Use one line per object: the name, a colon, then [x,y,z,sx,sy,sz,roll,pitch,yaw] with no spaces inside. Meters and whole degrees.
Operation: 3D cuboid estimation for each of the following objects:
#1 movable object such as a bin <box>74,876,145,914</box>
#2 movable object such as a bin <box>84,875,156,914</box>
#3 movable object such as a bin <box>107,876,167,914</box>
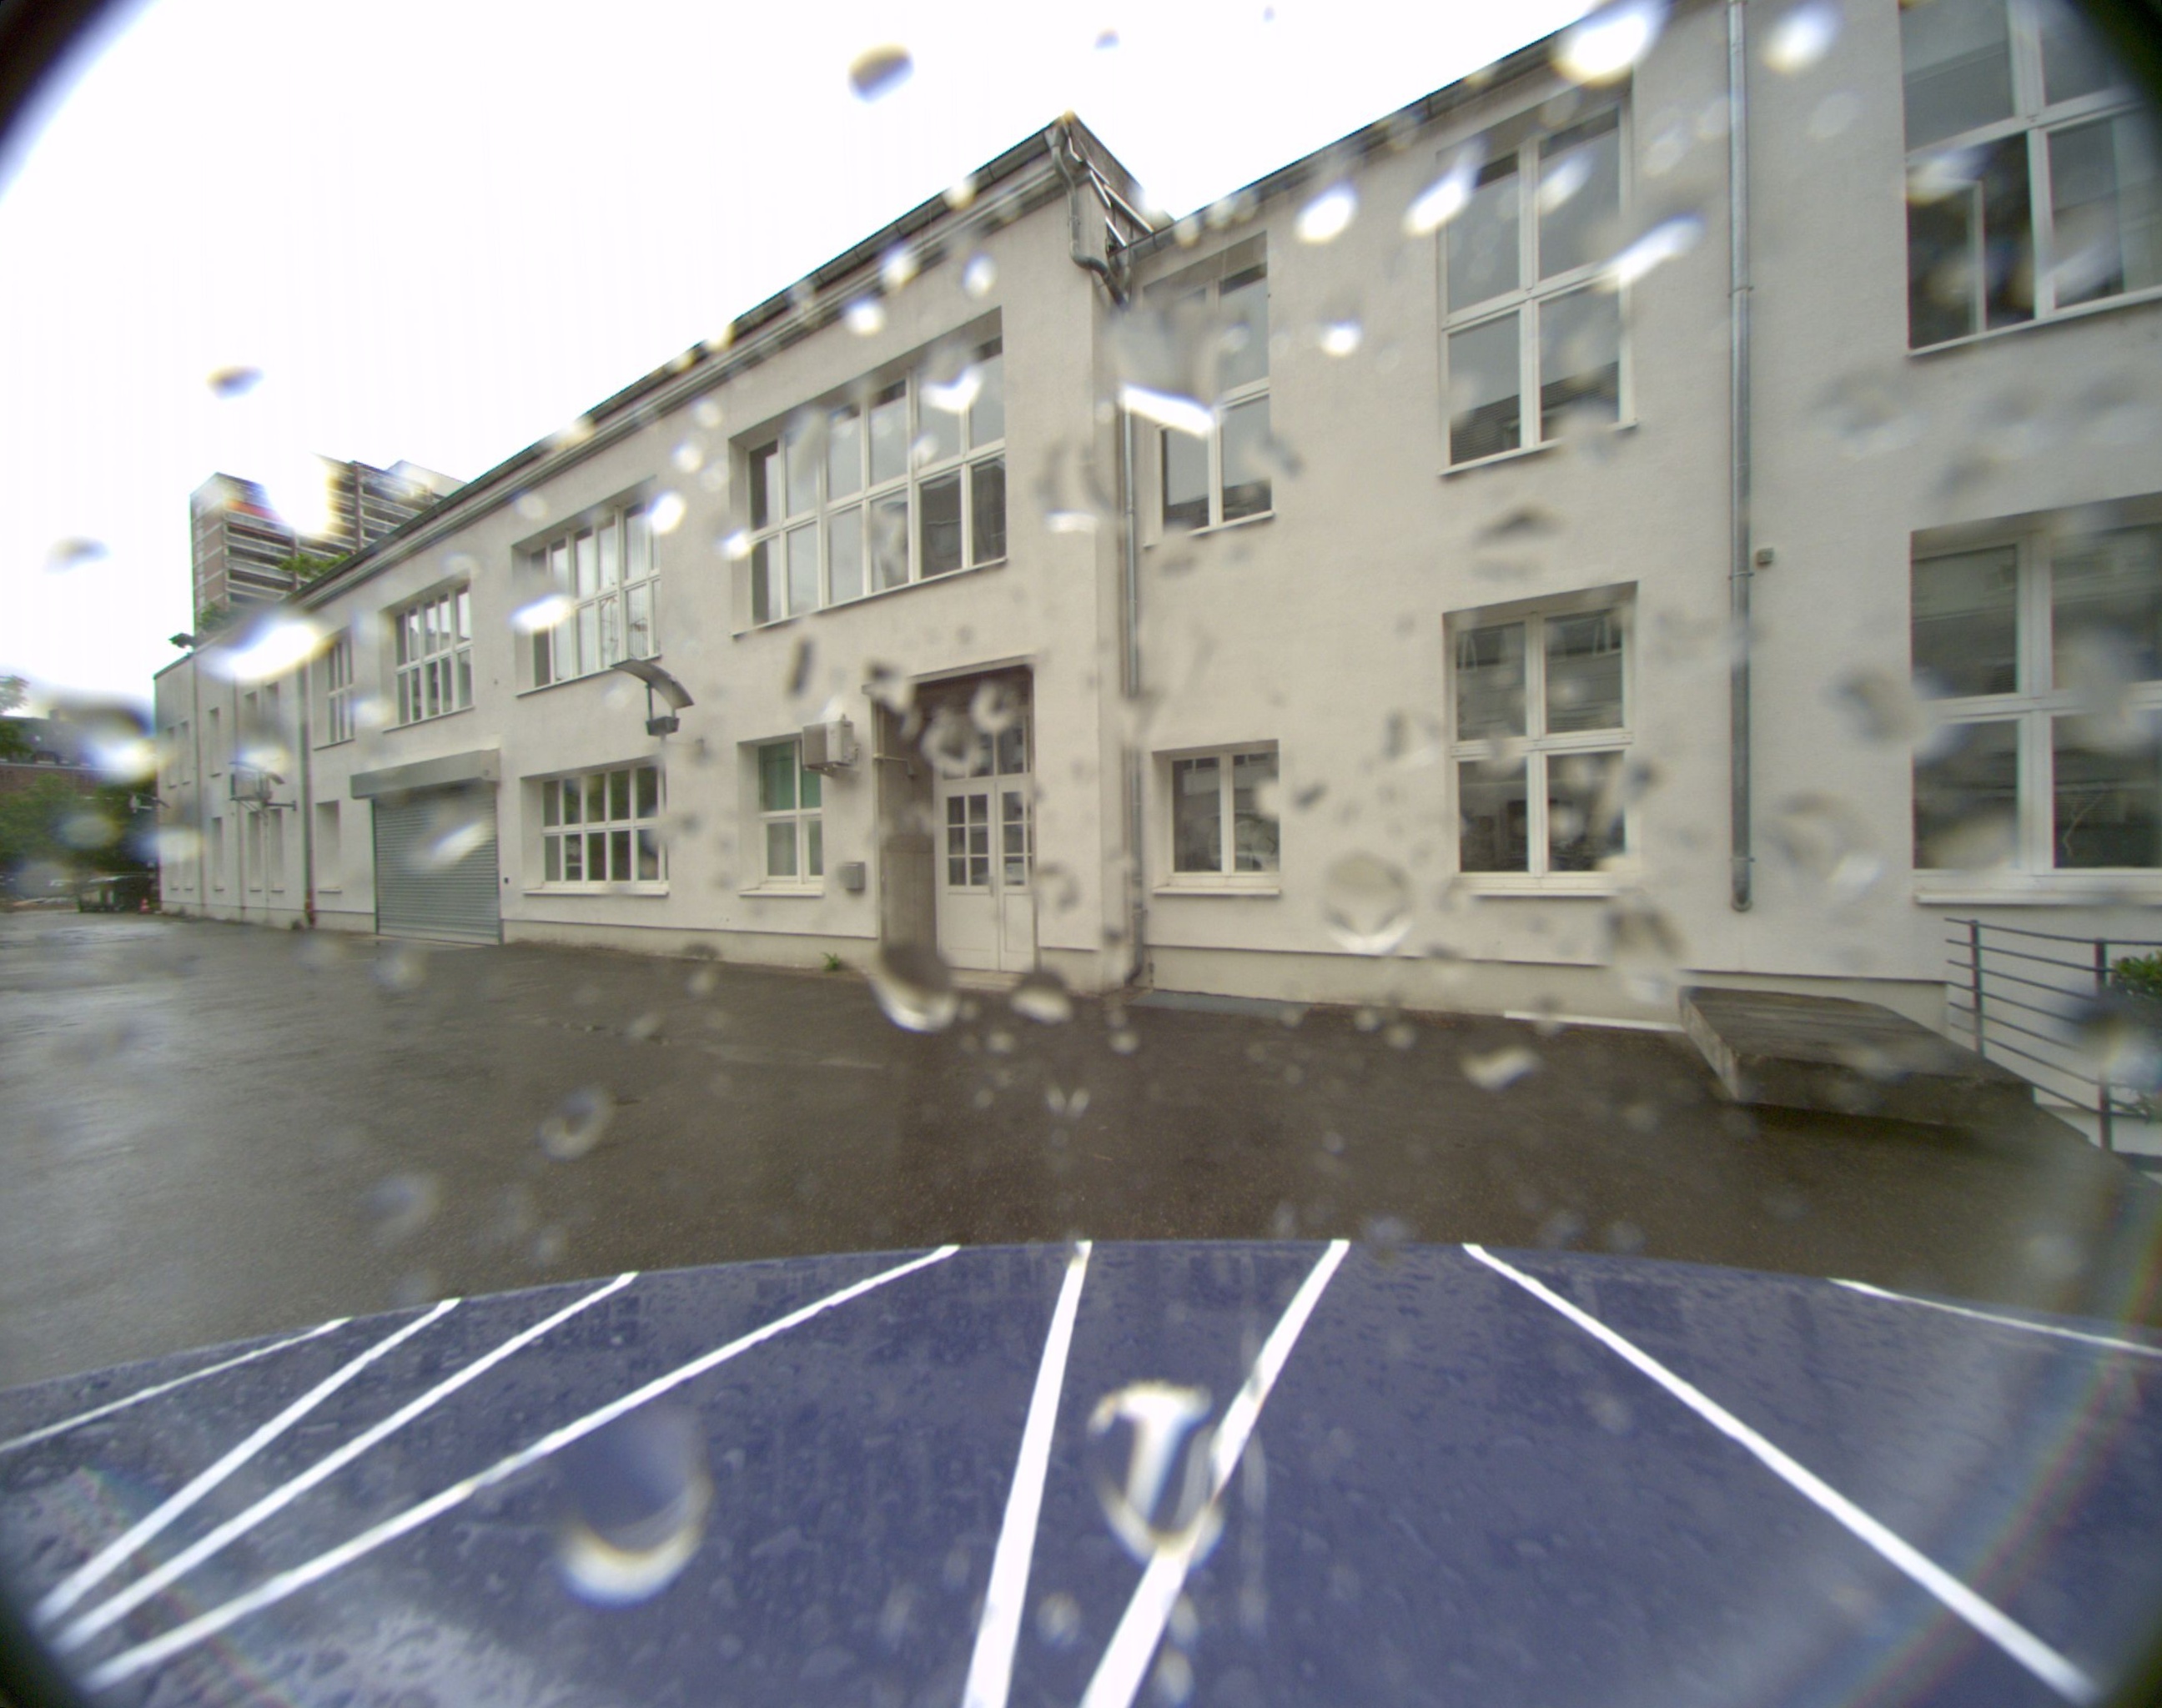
movable object such as a bin: [-40.182,1.682,31.447,1.310,1.440,1.495,-3,1,26]
movable object such as a bin: [-38.983,1.643,30.836,1.310,1.440,1.495,-3,1,26]
movable object such as a bin: [-37.520,1.629,30.207,1.310,1.366,1.190,-3,1,26]
